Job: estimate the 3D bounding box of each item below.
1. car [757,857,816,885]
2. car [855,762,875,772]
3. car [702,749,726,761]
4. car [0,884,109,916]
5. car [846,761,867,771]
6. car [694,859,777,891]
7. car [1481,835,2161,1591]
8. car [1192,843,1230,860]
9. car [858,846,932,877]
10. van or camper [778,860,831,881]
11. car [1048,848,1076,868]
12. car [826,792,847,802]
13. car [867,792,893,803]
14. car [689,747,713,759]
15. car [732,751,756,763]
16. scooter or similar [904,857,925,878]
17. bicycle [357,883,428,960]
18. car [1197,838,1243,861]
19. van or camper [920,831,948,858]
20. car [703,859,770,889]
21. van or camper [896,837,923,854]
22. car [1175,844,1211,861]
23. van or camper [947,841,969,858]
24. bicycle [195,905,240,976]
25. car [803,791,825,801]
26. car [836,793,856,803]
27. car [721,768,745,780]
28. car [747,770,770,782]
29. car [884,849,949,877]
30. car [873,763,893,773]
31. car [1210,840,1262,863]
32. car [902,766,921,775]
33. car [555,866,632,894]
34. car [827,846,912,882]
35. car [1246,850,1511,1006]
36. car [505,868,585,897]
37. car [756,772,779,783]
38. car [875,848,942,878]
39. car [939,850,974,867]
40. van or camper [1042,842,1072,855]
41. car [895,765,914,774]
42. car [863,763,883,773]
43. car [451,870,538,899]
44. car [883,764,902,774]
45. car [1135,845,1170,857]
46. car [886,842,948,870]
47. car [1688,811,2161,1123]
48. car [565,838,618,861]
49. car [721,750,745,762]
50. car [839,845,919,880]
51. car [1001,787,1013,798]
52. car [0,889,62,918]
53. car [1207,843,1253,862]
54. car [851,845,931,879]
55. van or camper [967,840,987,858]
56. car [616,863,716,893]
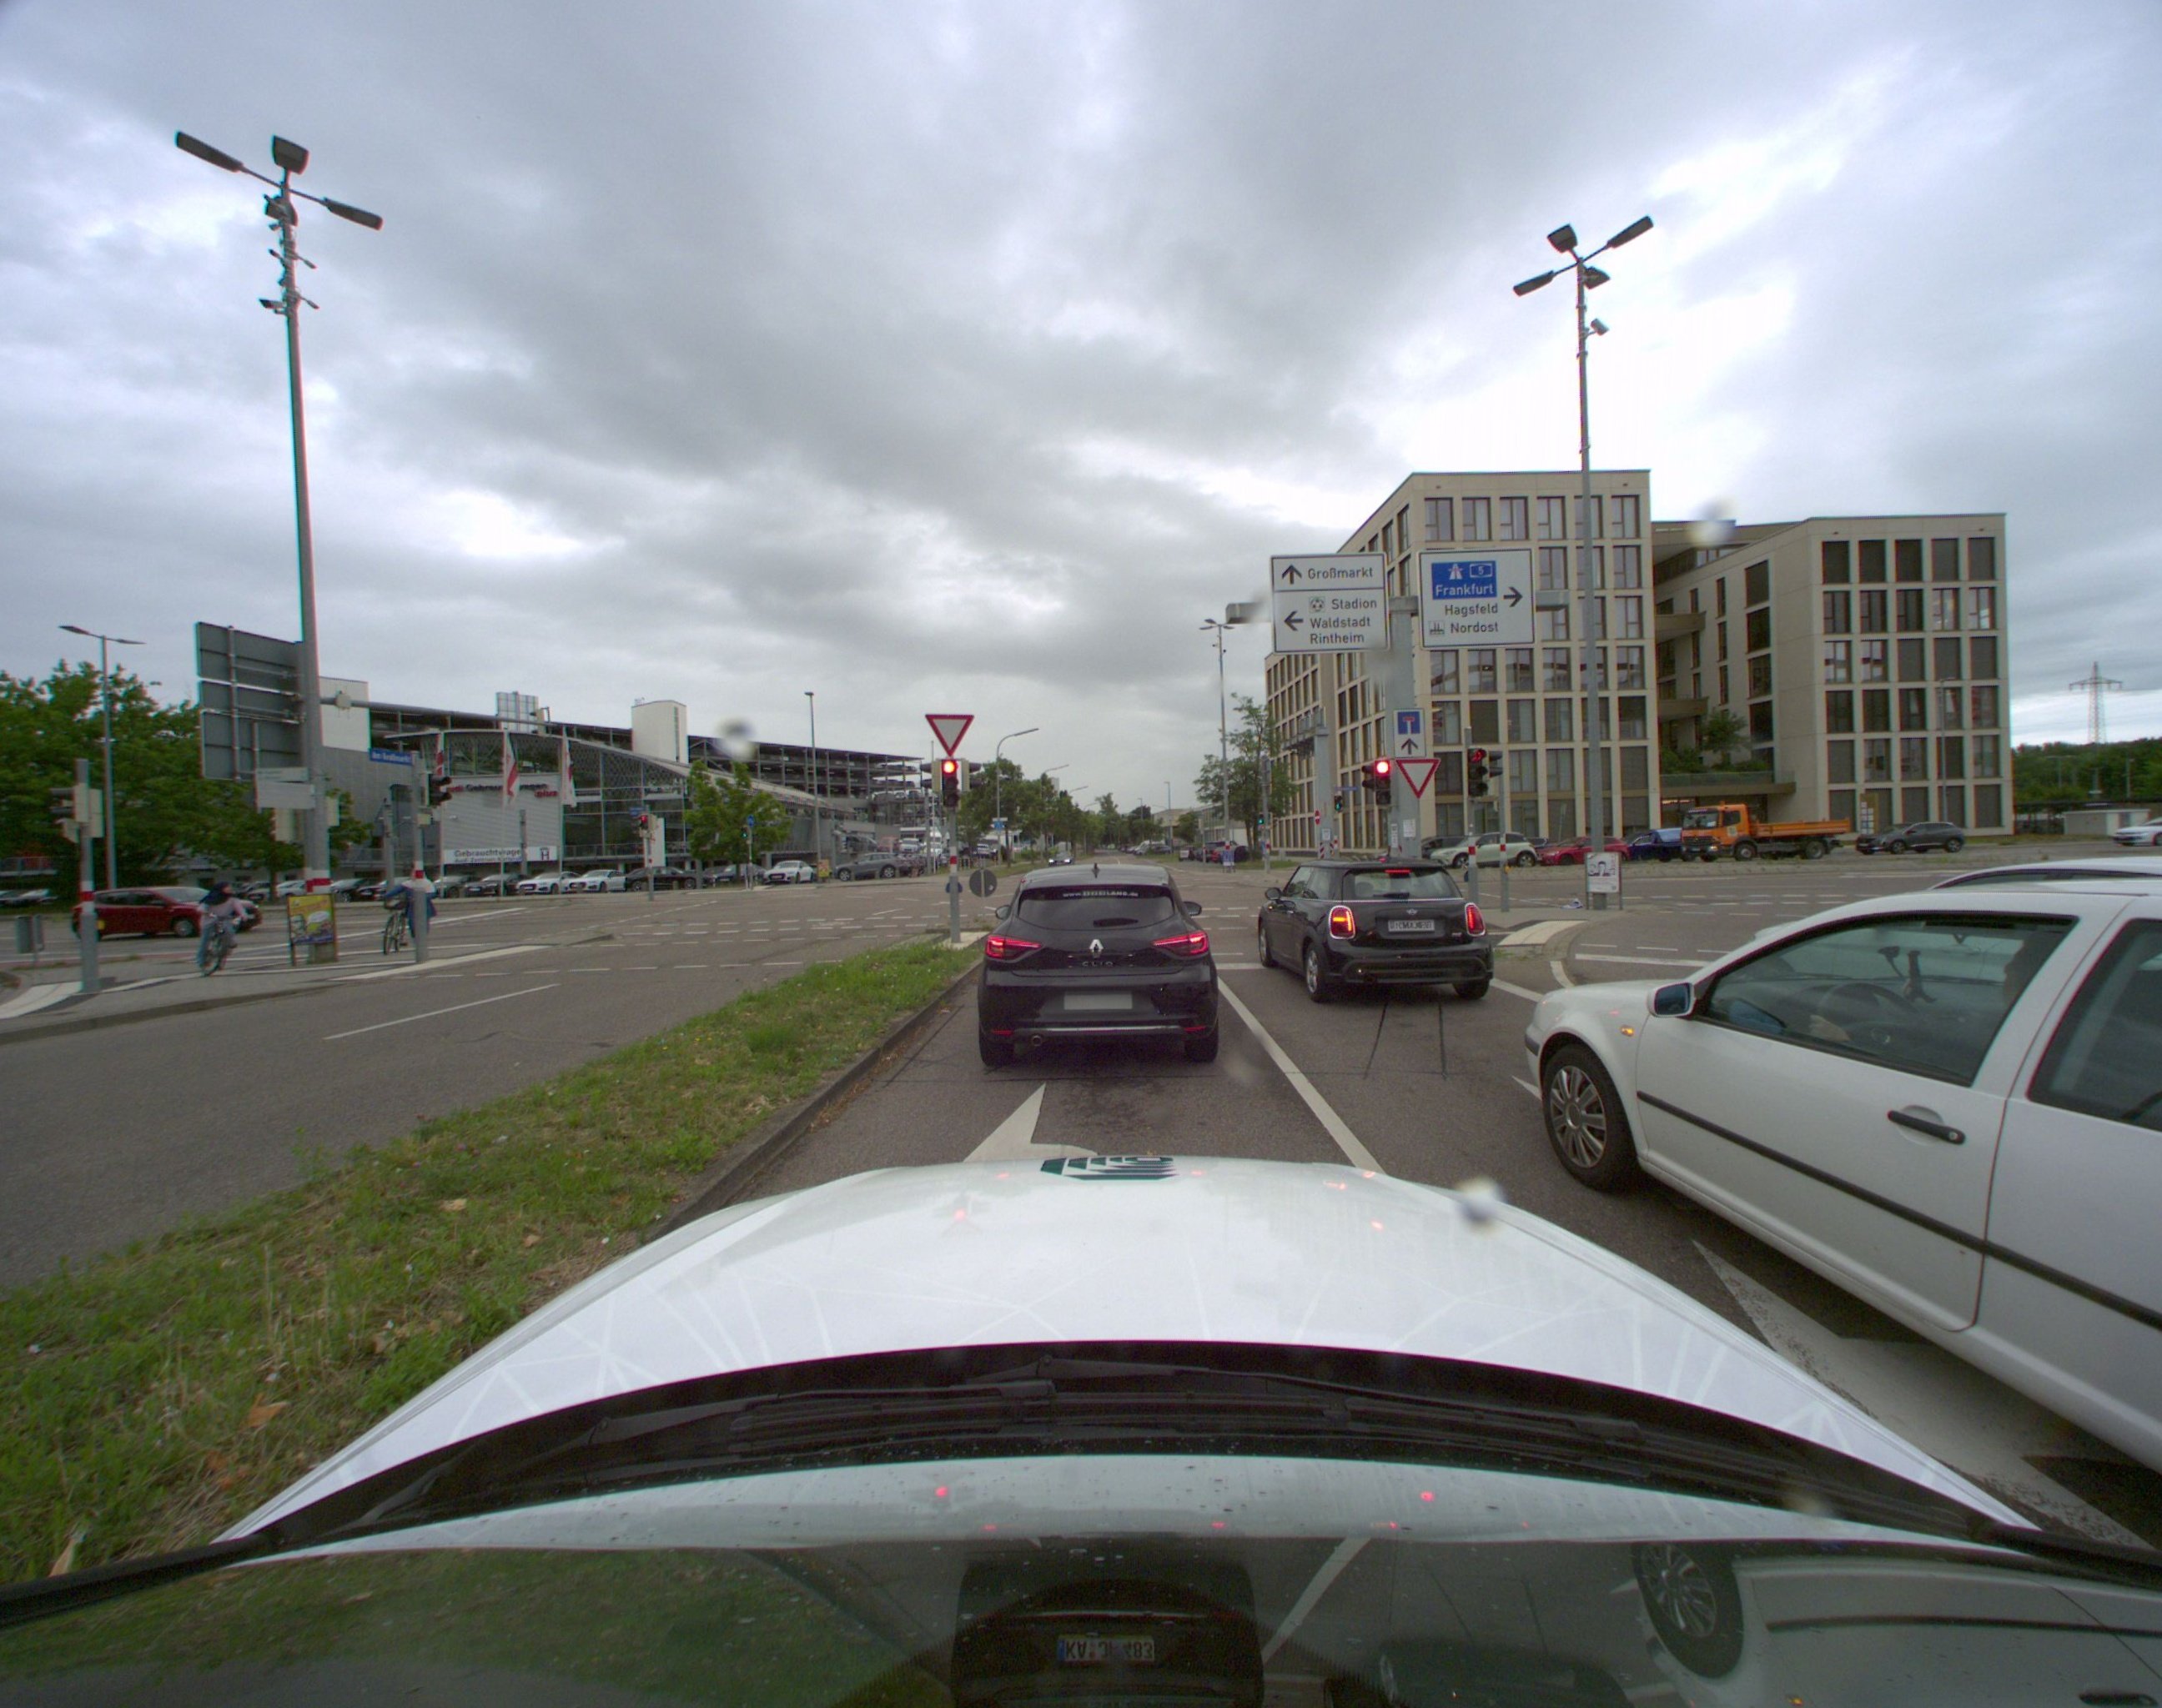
[{"bbox_3d":[-16.888,0.990,46.939,1.863,1.486,4.227,-3,-2,-1],"label":"car"},{"bbox_3d":[-45.510,-18.345,171.695,3.948,1.667,2.013,-1,0,33],"label":"car"},{"bbox_3d":[-64.427,-17.398,142.845,3.948,1.667,2.013,-1,0,33],"label":"car"},{"bbox_3d":[-57.772,2.597,45.455,1.865,1.603,4.245,0,-6,-2],"label":"car"},{"bbox_3d":[-46.687,-18.315,169.097,3.948,1.667,2.013,-1,0,33],"label":"car"},{"bbox_3d":[-23.777,1.411,56.200,4.788,1.939,1.999,-2,0,-1],"label":"car"},{"bbox_3d":[3.049,0.702,2.442,1.826,1.478,4.006,0,-1,2],"label":"car"},{"bbox_3d":[12.395,-0.222,77.529,1.676,1.511,3.840,-2,-1,45],"label":"car"},{"bbox_3d":[-13.588,0.544,59.672,4.938,1.876,2.050,-4,-1,-5],"label":"car"},{"bbox_3d":[-23.740,1.402,69.999,3.977,1.711,1.846,0,-1,-2],"label":"van or camper"},{"bbox_3d":[-1.533,0.309,67.068,1.970,1.551,4.617,-2,1,3],"label":"car"},{"bbox_3d":[-49.442,-11.535,164.711,3.948,1.667,2.013,-1,0,33],"label":"car"},{"bbox_3d":[-43.594,-12.255,176.503,5.263,1.945,2.225,-1,0,30],"label":"car"},{"bbox_3d":[-65.625,-17.407,140.696,3.948,1.667,2.013,-1,0,33],"label":"car"},{"bbox_3d":[-61.005,-17.599,147.425,3.948,1.667,2.013,-1,0,33],"label":"car"},{"bbox_3d":[-9.953,0.783,48.701,0.553,1.218,1.567,1,1,16],"label":"scooter or similar"},{"bbox_3d":[-13.725,1.300,16.281,0.599,1.396,1.916,-5,0,-28],"label":"bicycle"},{"bbox_3d":[12.670,-0.414,74.118,1.975,1.965,4.271,-2,-1,43],"label":"car"},{"bbox_3d":[-17.180,-1.028,95.303,2.529,3.026,4.840,0,-1,-2],"label":"van or camper"},{"bbox_3d":[-19.691,1.185,46.815,2.059,1.486,4.511,-3,-2,-3],"label":"car"},{"bbox_3d":[-17.663,-0.818,83.945,1.988,1.651,3.997,0,-1,-2],"label":"van or camper"},{"bbox_3d":[11.565,-0.152,83.865,3.451,1.732,1.745,0,-1,-40],"label":"car"},{"bbox_3d":[-14.333,-0.504,95.221,1.988,2.014,3.997,0,-1,-2],"label":"van or camper"},{"bbox_3d":[-15.443,1.512,14.553,1.922,1.166,0.511,-4,-3,42],"label":"bicycle"},{"bbox_3d":[-52.462,-11.318,160.128,3.948,1.667,2.013,-1,0,33],"label":"car"},{"bbox_3d":[-48.237,-11.450,167.117,3.948,1.667,2.013,-1,0,33],"label":"car"},{"bbox_3d":[-62.081,-14.285,145.161,3.948,1.667,2.013,-1,0,33],"label":"car"},{"bbox_3d":[-59.193,-14.273,149.281,3.948,1.667,2.013,-1,0,33],"label":"car"},{"bbox_3d":[-13.637,0.729,67.707,4.882,2.013,1.998,-4,0,-3],"label":"car"},{"bbox_3d":[-42.681,-18.575,175.815,3.948,1.667,2.013,-1,0,33],"label":"car"},{"bbox_3d":[12.678,-0.198,66.522,4.153,1.768,1.867,-1,-1,-38],"label":"car"},{"bbox_3d":[-38.050,-18.763,183.117,3.948,1.667,2.013,-1,0,33],"label":"car"},{"bbox_3d":[-27.536,1.495,46.179,1.841,1.486,4.196,-2,-2,-1],"label":"car"},{"bbox_3d":[-13.308,0.626,51.453,4.761,1.862,1.998,-4,0,-3],"label":"car"},{"bbox_3d":[3.097,0.694,9.295,1.779,1.416,3.644,0,-1,2],"label":"car"},{"bbox_3d":[-30.098,1.606,45.895,1.865,1.486,4.041,-2,-2,-1],"label":"car"},{"bbox_3d":[-58.129,-14.268,151.095,3.948,1.667,2.013,-1,0,33],"label":"car"},{"bbox_3d":[-13.725,0.738,64.987,4.882,2.013,1.998,-4,0,-3],"label":"car"},{"bbox_3d":[-15.205,0.516,99.476,3.975,2.014,1.999,0,-1,-1],"label":"car"},{"bbox_3d":[-4.442,-1.066,152.609,5.580,2.372,2.000,0,-1,0],"label":"van or camper"},{"bbox_3d":[-39.227,-18.721,181.200,3.948,1.667,2.013,-1,0,33],"label":"car"},{"bbox_3d":[-44.284,-18.354,173.645,3.948,1.667,2.013,-1,0,33],"label":"car"},{"bbox_3d":[-32.845,1.715,45.752,1.860,1.486,4.229,-2,-2,-1],"label":"car"},{"bbox_3d":[-41.204,-18.566,177.890,3.948,1.667,2.013,-1,0,33],"label":"car"},{"bbox_3d":[10.816,-0.484,123.656,5.158,1.720,2.143,0,-1,-1],"label":"car"},{"bbox_3d":[-14.174,0.187,70.525,4.882,2.013,1.998,-4,0,-3],"label":"car"},{"bbox_3d":[5.880,0.511,4.731,1.820,1.410,4.203,0,0,5],"label":"car"},{"bbox_3d":[-37.701,-0.318,62.831,1.815,1.662,3.996,0,-1,-3],"label":"car"},{"bbox_3d":[-62.130,-17.395,145.269,3.948,1.667,2.013,-1,0,33],"label":"car"},{"bbox_3d":[-13.330,0.569,54.025,4.690,2.013,1.998,-4,0,-3],"label":"car"},{"bbox_3d":[-14.525,-12.014,159.520,1.989,1.882,3.996,-2,-1,-2],"label":"car"},{"bbox_3d":[-60.433,2.770,45.420,1.815,1.487,4.216,0,-6,-2],"label":"car"},{"bbox_3d":[12.990,-0.156,70.905,4.157,1.551,1.865,-1,-1,-43],"label":"car"},{"bbox_3d":[-13.253,0.531,57.033,5.011,2.013,2.264,-4,0,-3],"label":"car"},{"bbox_3d":[-12.135,-0.519,95.360,1.988,2.014,3.997,0,-1,-2],"label":"van or camper"},{"bbox_3d":[-23.739,1.408,46.722,4.726,1.486,1.891,-2,-3,-2],"label":"car"}]
